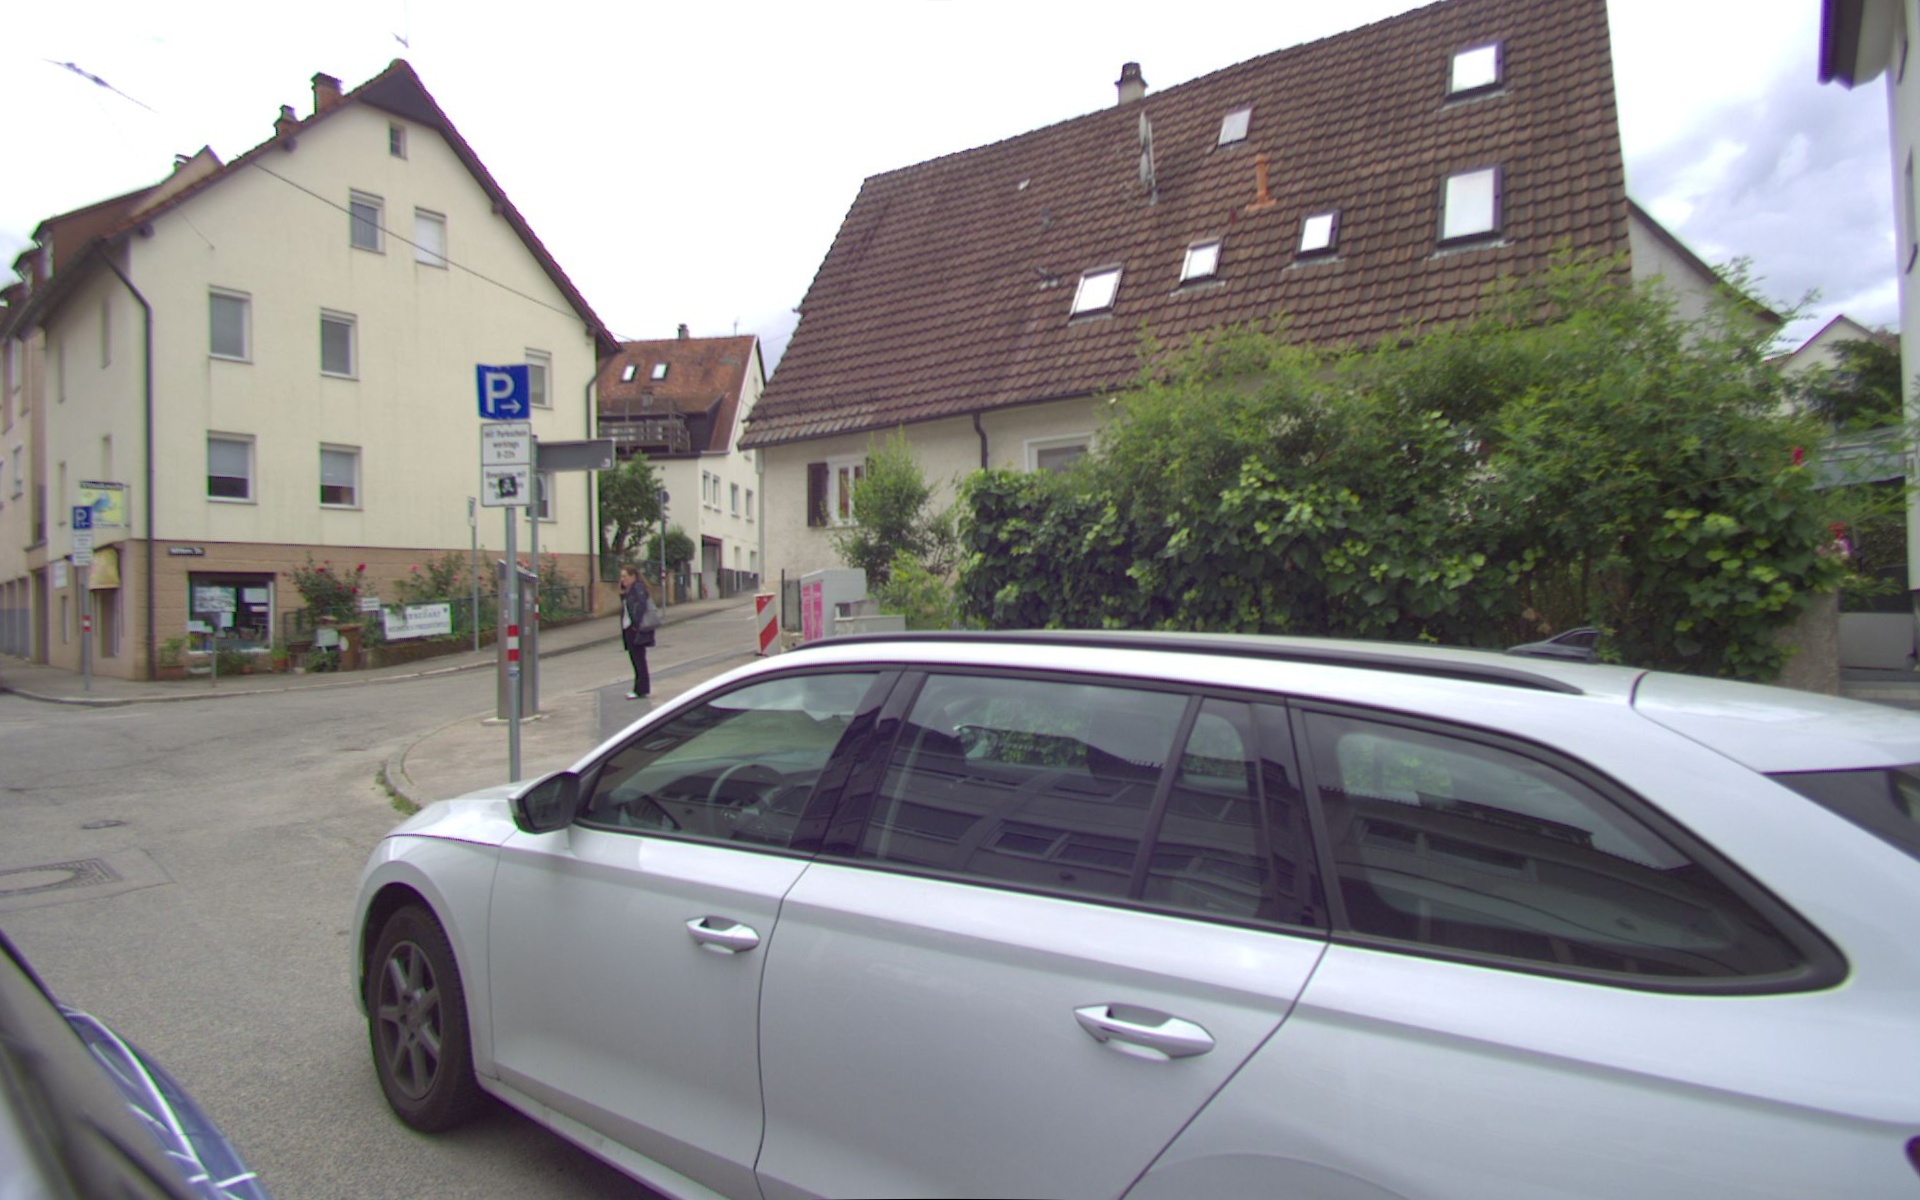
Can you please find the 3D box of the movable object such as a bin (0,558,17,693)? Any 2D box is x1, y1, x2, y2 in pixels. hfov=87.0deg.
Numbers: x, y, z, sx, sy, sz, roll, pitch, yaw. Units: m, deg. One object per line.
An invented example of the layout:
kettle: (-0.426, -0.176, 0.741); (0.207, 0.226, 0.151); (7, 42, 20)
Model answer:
movable object such as a bin: (-20.057, 0.489, 19.818); (4.667, 2.519, 1.552); (-1, -2, 38)

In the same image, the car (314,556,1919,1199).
car: (0.244, 0.732, 2.618); (4.287, 1.472, 1.777); (-1, -2, 36)

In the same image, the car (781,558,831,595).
car: (-7.125, -1.133, 47.216); (1.774, 1.456, 4.301); (-4, 3, -3)

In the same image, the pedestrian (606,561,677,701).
pedestrian: (-4.041, 0.374, 12.840); (0.638, 1.697, 0.606); (-3, 2, -33)
